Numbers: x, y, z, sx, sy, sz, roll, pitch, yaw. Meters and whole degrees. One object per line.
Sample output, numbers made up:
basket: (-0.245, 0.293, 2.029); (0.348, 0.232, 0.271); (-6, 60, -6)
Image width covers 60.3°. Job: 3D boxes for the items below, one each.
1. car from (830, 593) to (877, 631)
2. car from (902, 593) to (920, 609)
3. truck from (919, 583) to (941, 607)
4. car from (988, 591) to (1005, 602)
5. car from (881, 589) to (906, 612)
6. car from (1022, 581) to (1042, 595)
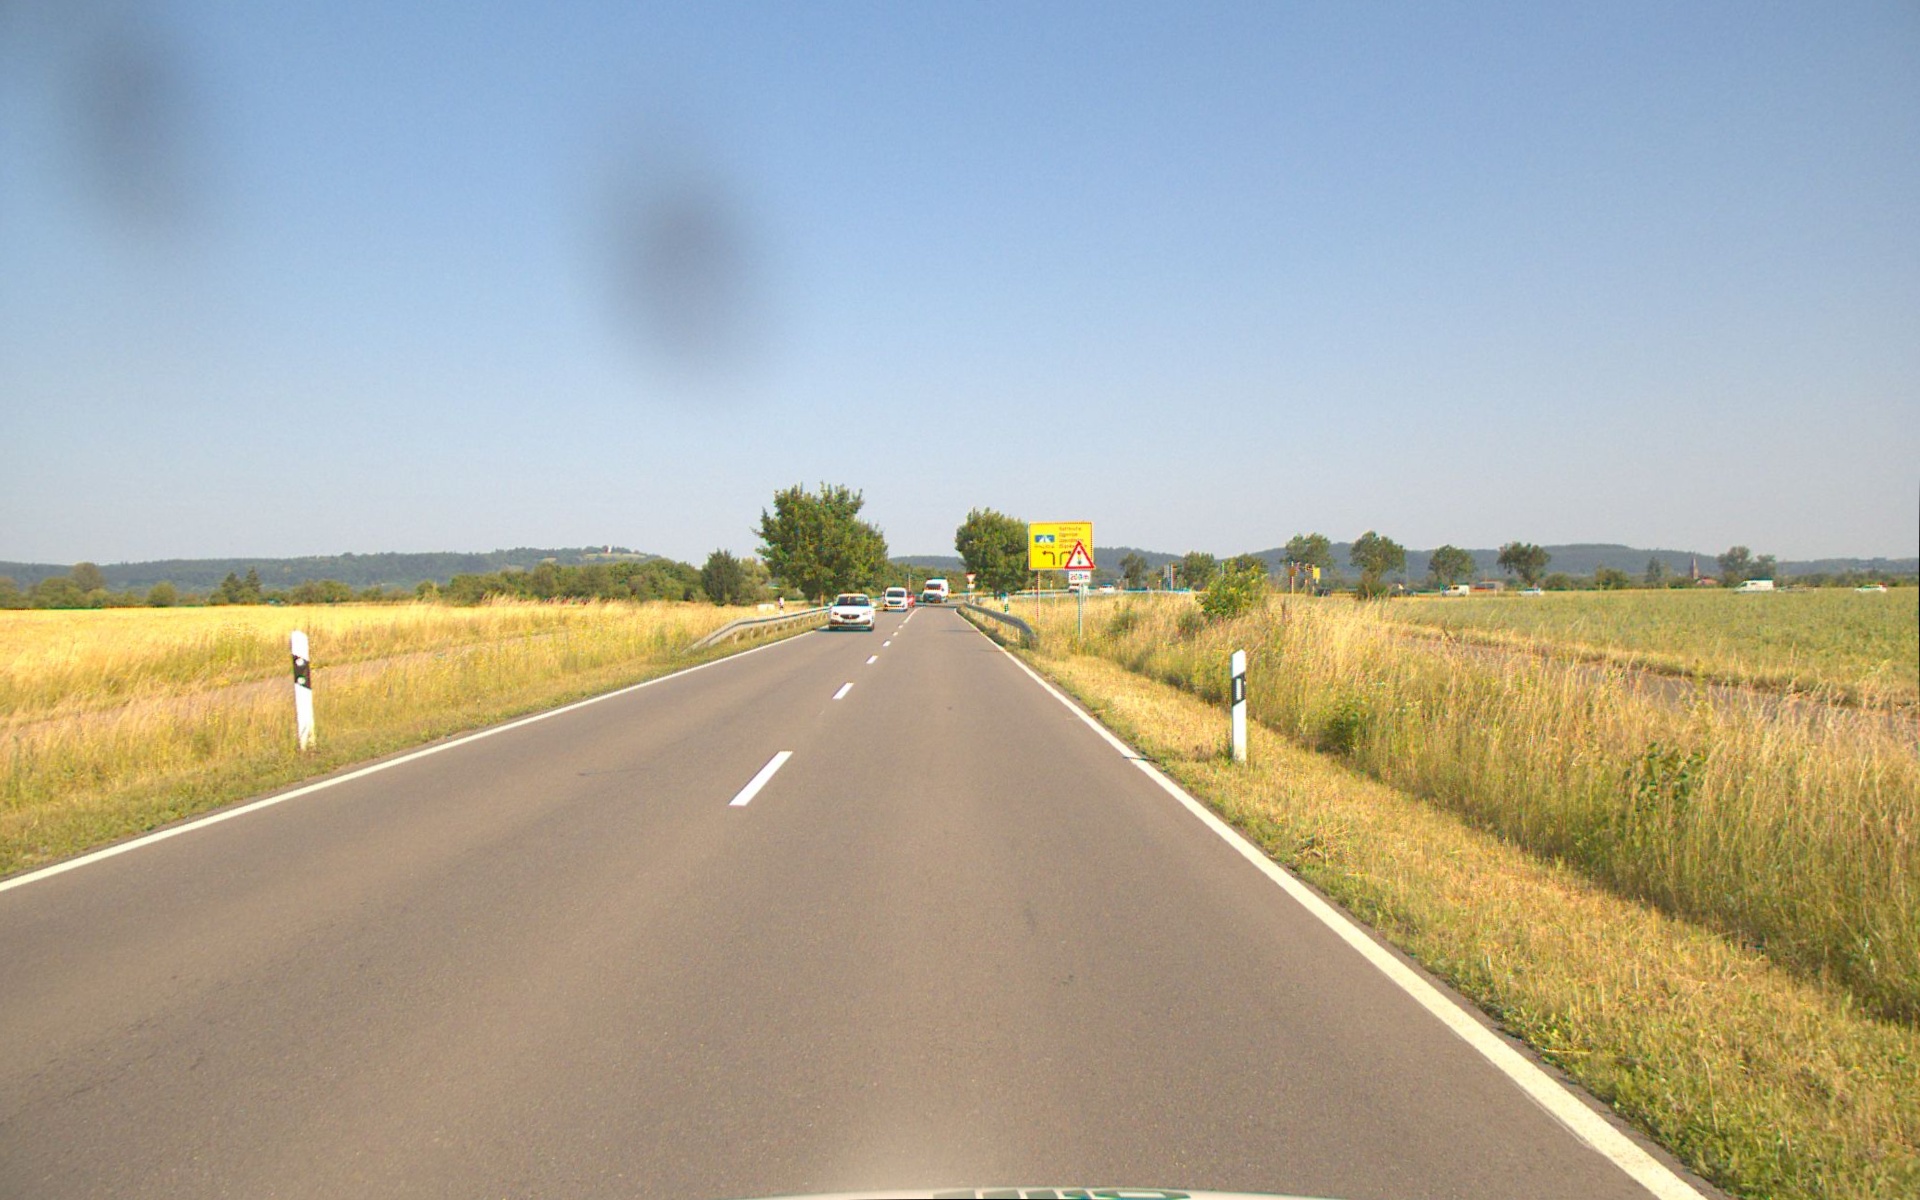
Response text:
car: (-4.275, 0.481, 66.622); (1.691, 1.462, 4.515); (0, 0, -1)
car: (-4.497, 0.089, 151.426); (1.574, 1.514, 3.779); (0, 0, -1)
truck: (-3.303, -0.540, 182.209); (1.952, 2.564, 6.246); (0, 0, 4)
car: (4.872, -0.460, 220.365); (1.609, 1.497, 3.810); (1, 0, 11)
car: (-5.132, 0.023, 128.666); (1.799, 1.818, 4.434); (0, 0, -1)
car: (10.657, -1.769, 244.824); (1.951, 1.917, 4.595); (1, 0, 15)
